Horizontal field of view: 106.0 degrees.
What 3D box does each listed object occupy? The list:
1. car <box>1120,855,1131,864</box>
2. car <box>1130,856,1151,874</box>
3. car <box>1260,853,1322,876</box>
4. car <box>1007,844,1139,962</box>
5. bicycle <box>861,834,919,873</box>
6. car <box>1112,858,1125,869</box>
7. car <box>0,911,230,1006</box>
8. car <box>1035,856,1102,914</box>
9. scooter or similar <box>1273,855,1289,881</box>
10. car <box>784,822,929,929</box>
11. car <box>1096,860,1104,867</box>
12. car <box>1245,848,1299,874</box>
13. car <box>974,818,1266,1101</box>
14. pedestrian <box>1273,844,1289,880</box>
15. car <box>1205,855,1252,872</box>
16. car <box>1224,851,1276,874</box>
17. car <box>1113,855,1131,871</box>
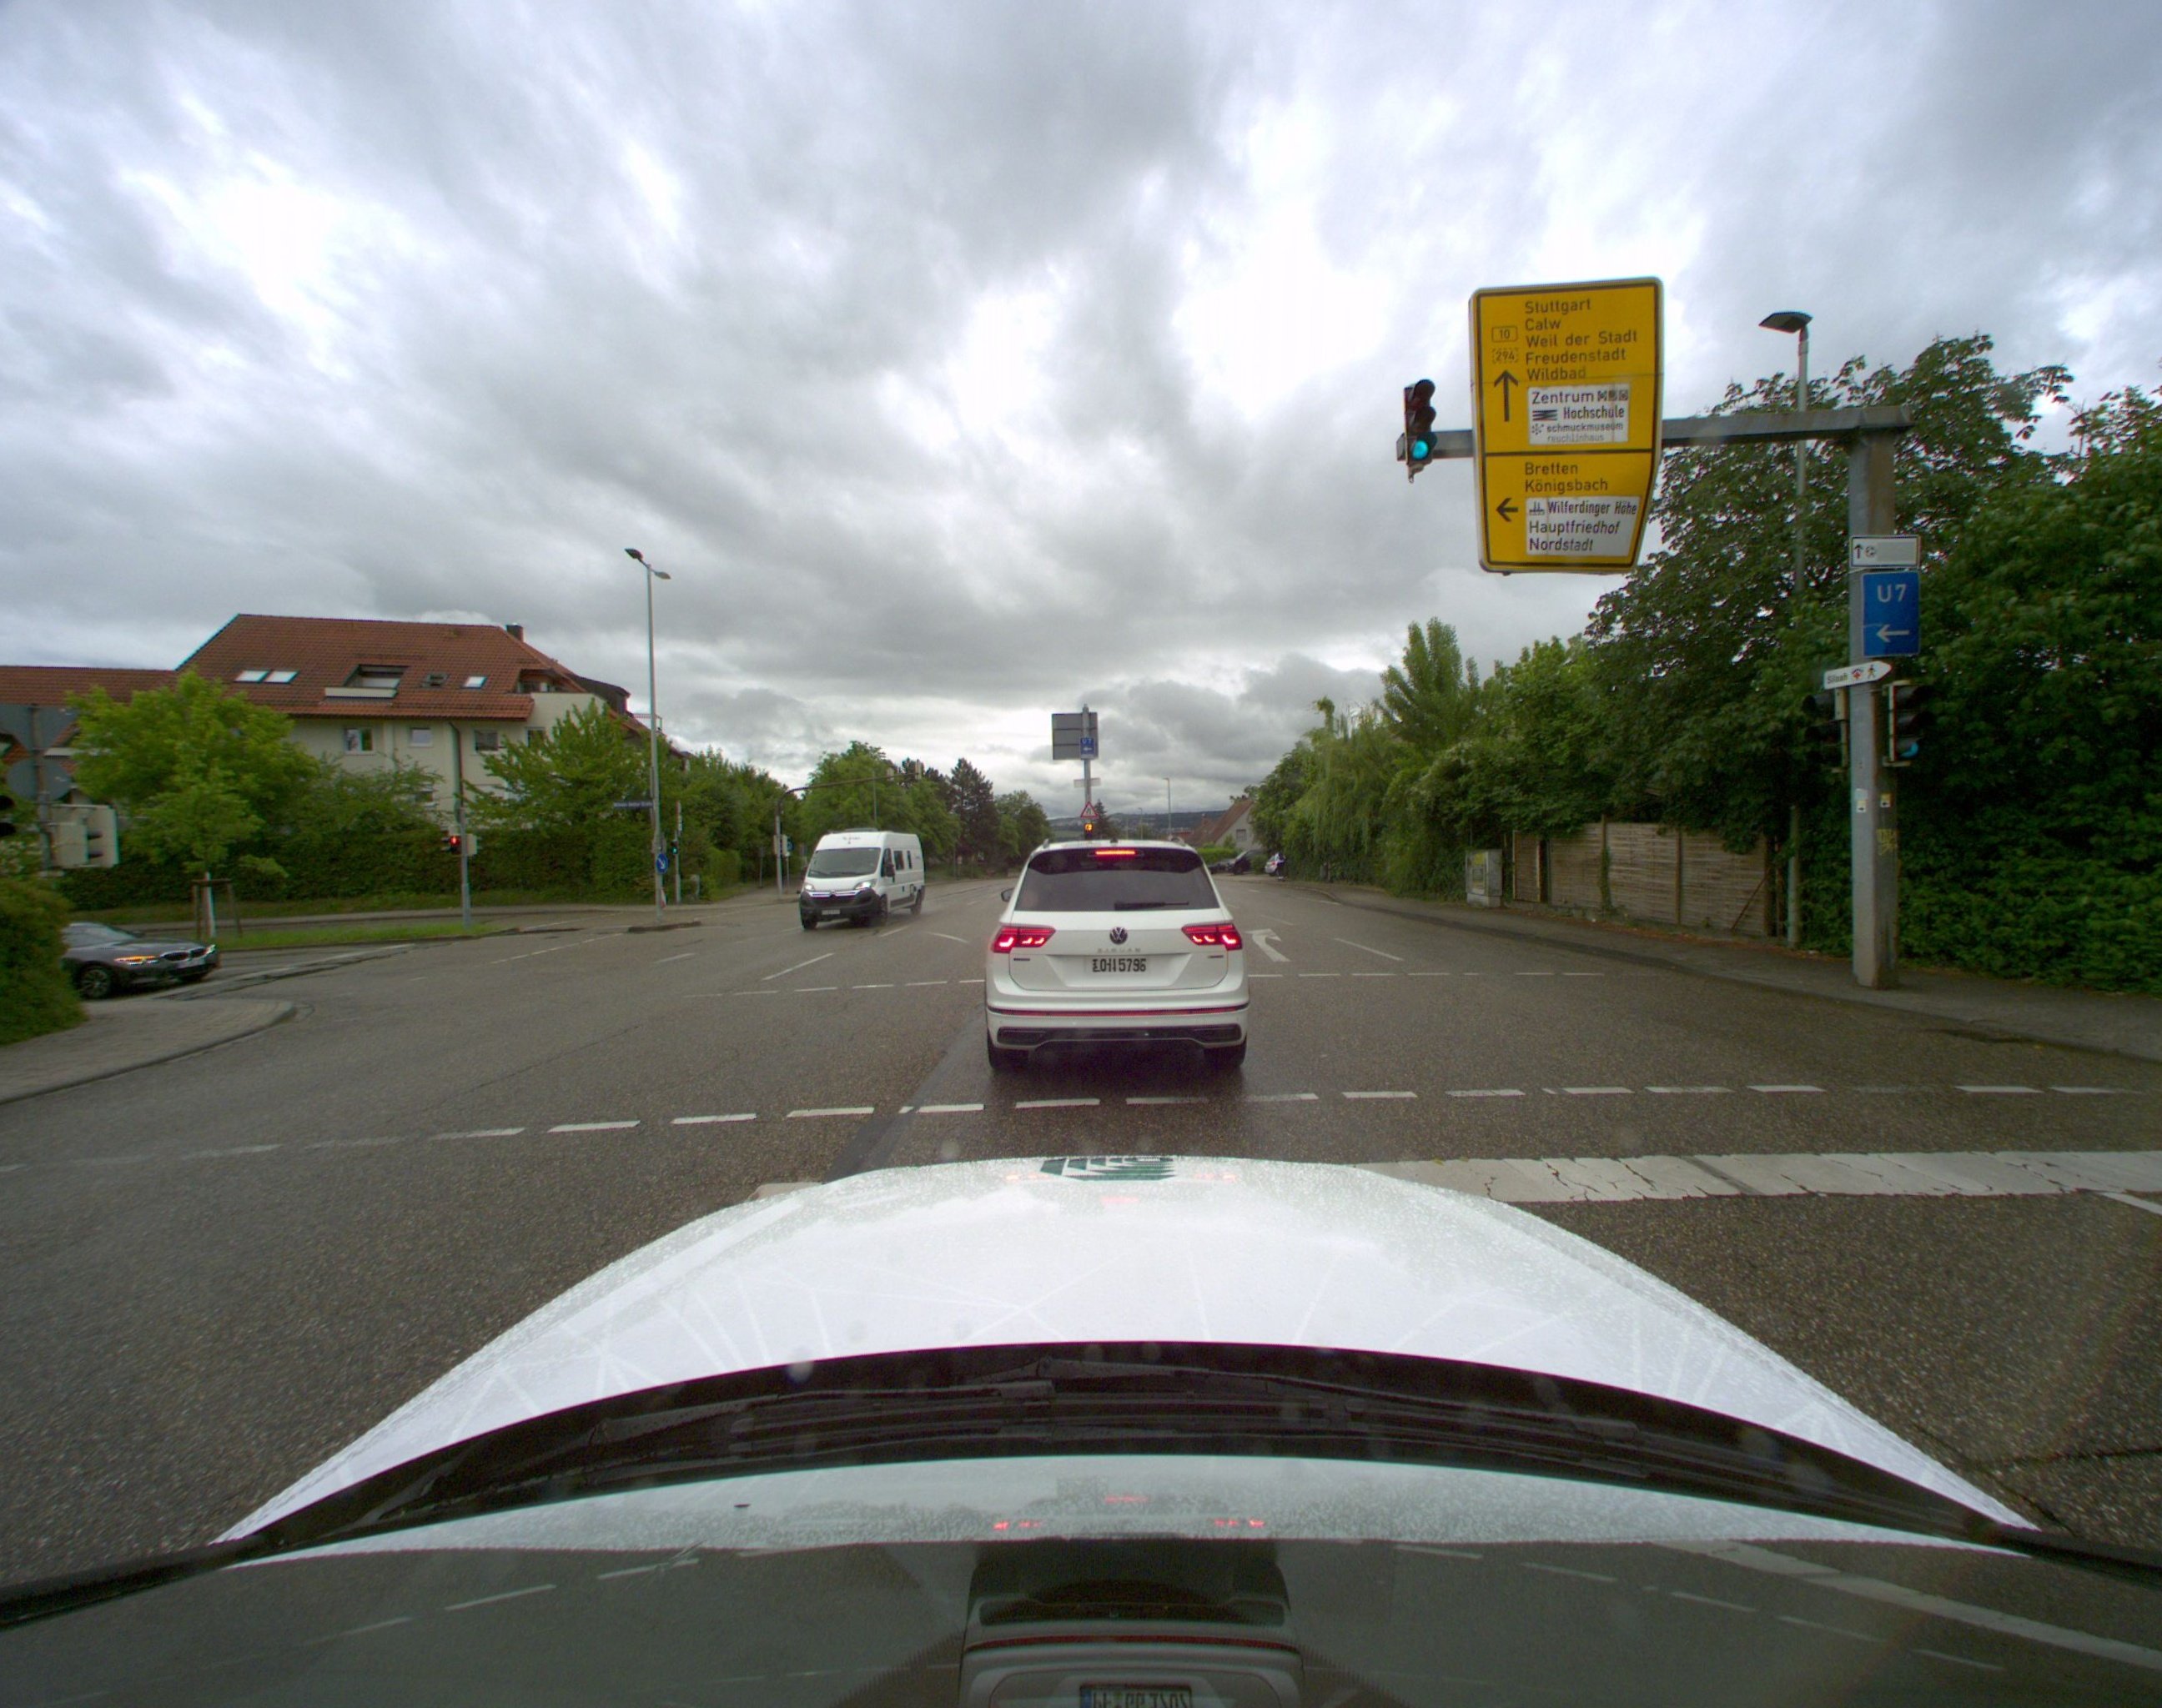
[{"bbox_3d":[7.917,1.006,145.239,1.843,1.574,4.002,-2,0,2],"label":"car"},{"bbox_3d":[4.800,0.879,66.437,1.619,1.403,3.692,0,0,3],"label":"car"},{"bbox_3d":[14.357,0.709,55.707,3.709,1.395,1.725,-2,-1,-6],"label":"car"},{"bbox_3d":[0.026,0.690,13.381,1.790,1.589,3.930,-2,0,4],"label":"car"},{"bbox_3d":[-6.048,-0.014,25.829,1.631,1.126,0.468,-3,1,0],"label":"bicycle"},{"bbox_3d":[5.527,1.354,119.808,1.843,1.574,4.002,-2,0,2],"label":"car"},{"bbox_3d":[-19.783,2.058,15.760,4.413,1.393,1.774,-4,1,-5],"label":"car"},{"bbox_3d":[-0.365,0.843,23.876,1.755,1.479,3.998,-2,0,-1],"label":"car"},{"bbox_3d":[11.108,0.768,45.287,0.460,1.361,1.384,-1,0,-2],"label":"scooter or similar"},{"bbox_3d":[-5.998,0.523,22.703,2.289,2.528,5.774,-2,0,1],"label":"car"},{"bbox_3d":[4.772,2.240,201.127,1.843,1.574,4.002,-2,0,2],"label":"car"},{"bbox_3d":[14.319,0.509,61.116,3.618,1.746,1.706,-2,1,-2],"label":"car"},{"bbox_3d":[0.279,0.640,7.079,1.756,1.696,4.273,1,0,1],"label":"car"},{"bbox_3d":[11.124,0.442,45.398,0.654,2.002,0.717,-1,0,-2],"label":"pedestrian"},{"bbox_3d":[12.346,0.776,68.327,3.675,1.370,1.518,-1,-2,0],"label":"car"},{"bbox_3d":[13.144,0.648,63.449,3.618,1.626,1.789,-1,-1,-3],"label":"car"},{"bbox_3d":[3.988,0.890,79.250,1.658,1.427,4.307,-2,0,2],"label":"car"}]
